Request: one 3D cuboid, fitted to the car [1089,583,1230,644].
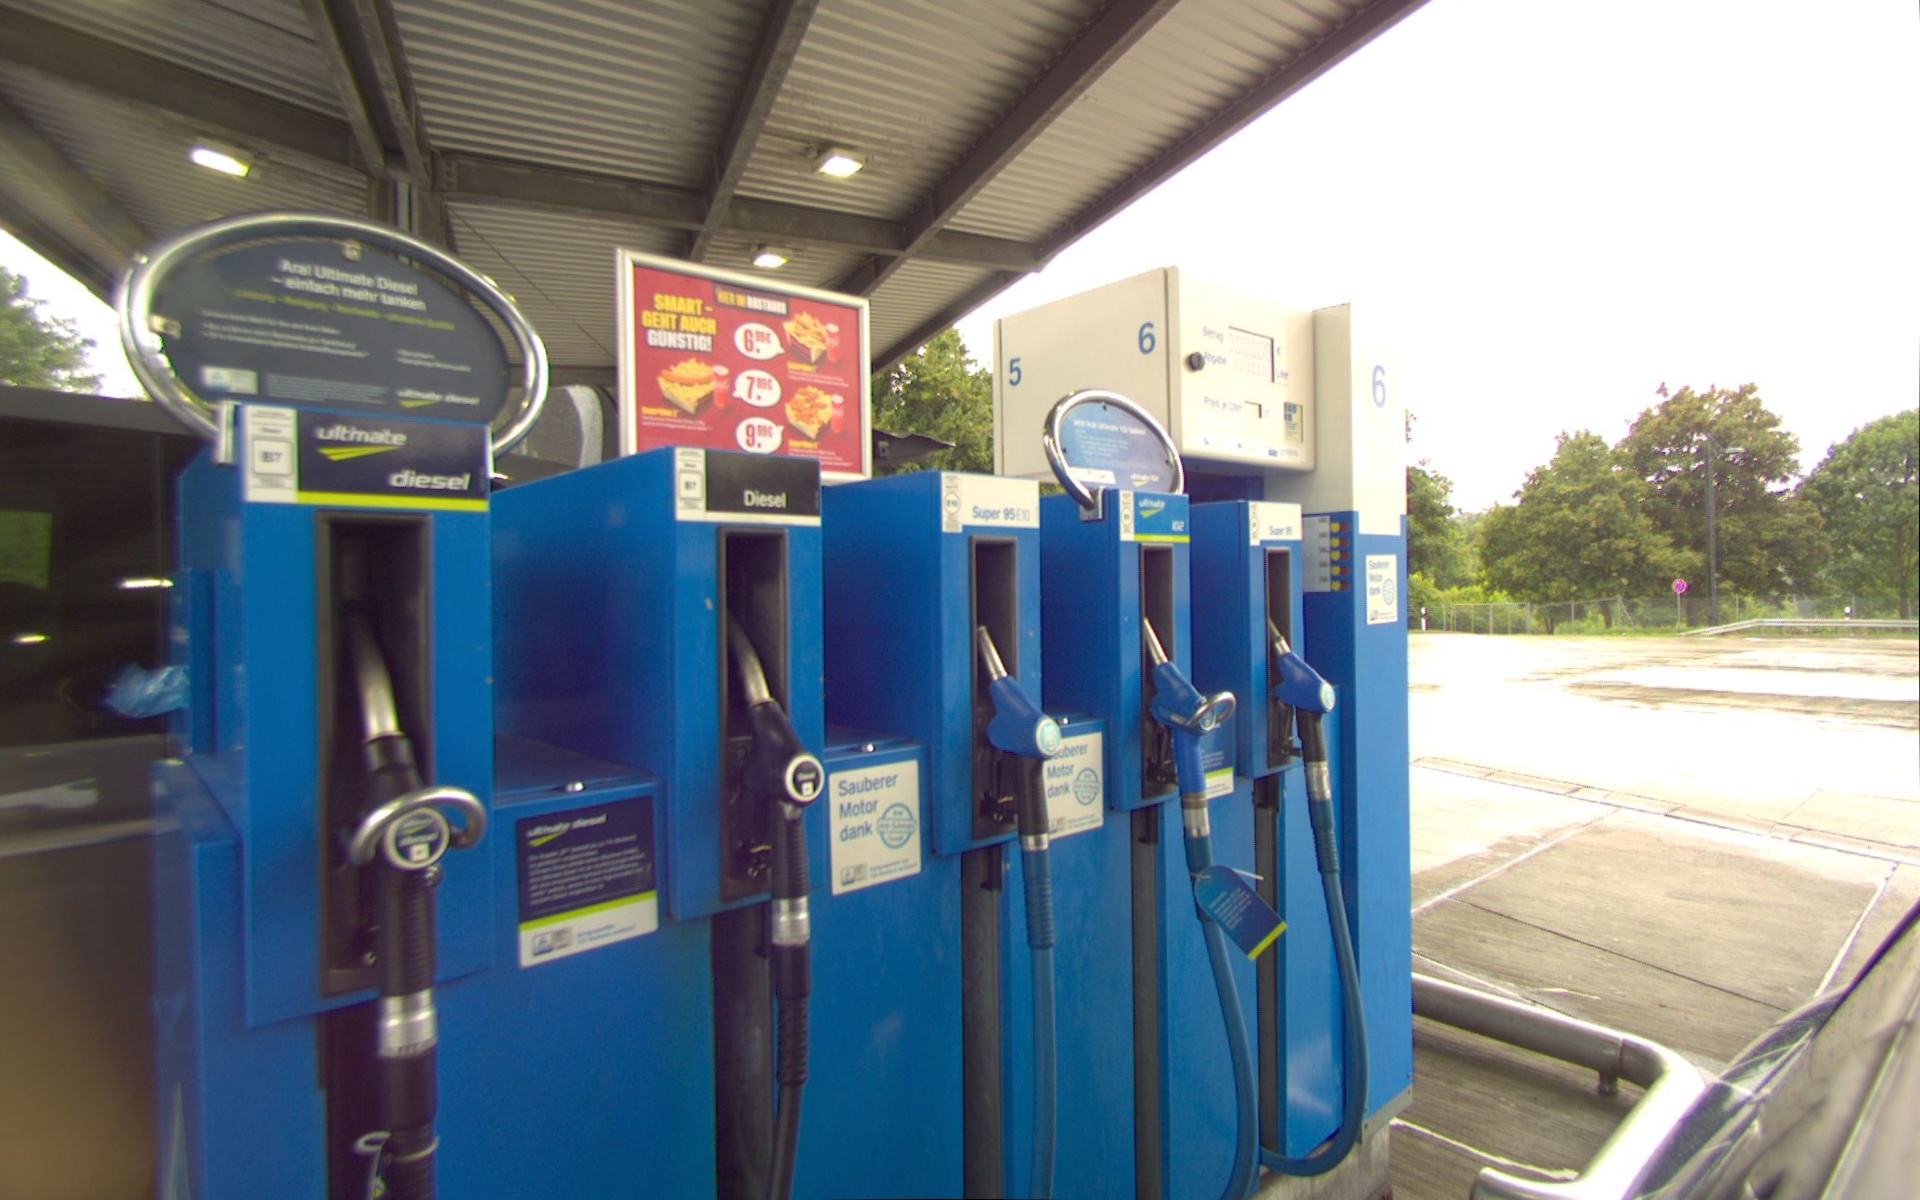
[{"bbox_3d":[5.857,0.375,29.717,3.941,1.680,1.593,1,0,14],"label":"car"}]

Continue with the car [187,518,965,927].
[{"bbox_3d":[-2.253,0.520,6.692,4.460,1.821,1.864,-1,0,-41],"label":"car"}]

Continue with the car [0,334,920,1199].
[{"bbox_3d":[-2.618,0.504,1.805,5.050,1.821,1.864,-1,0,-41],"label":"car"}]

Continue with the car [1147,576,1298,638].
[{"bbox_3d":[8.873,0.209,34.490,4.817,1.974,2.306,1,1,14],"label":"car"}]

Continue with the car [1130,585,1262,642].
[{"bbox_3d":[7.411,0.387,31.907,3.941,1.680,1.593,1,0,14],"label":"car"}]
